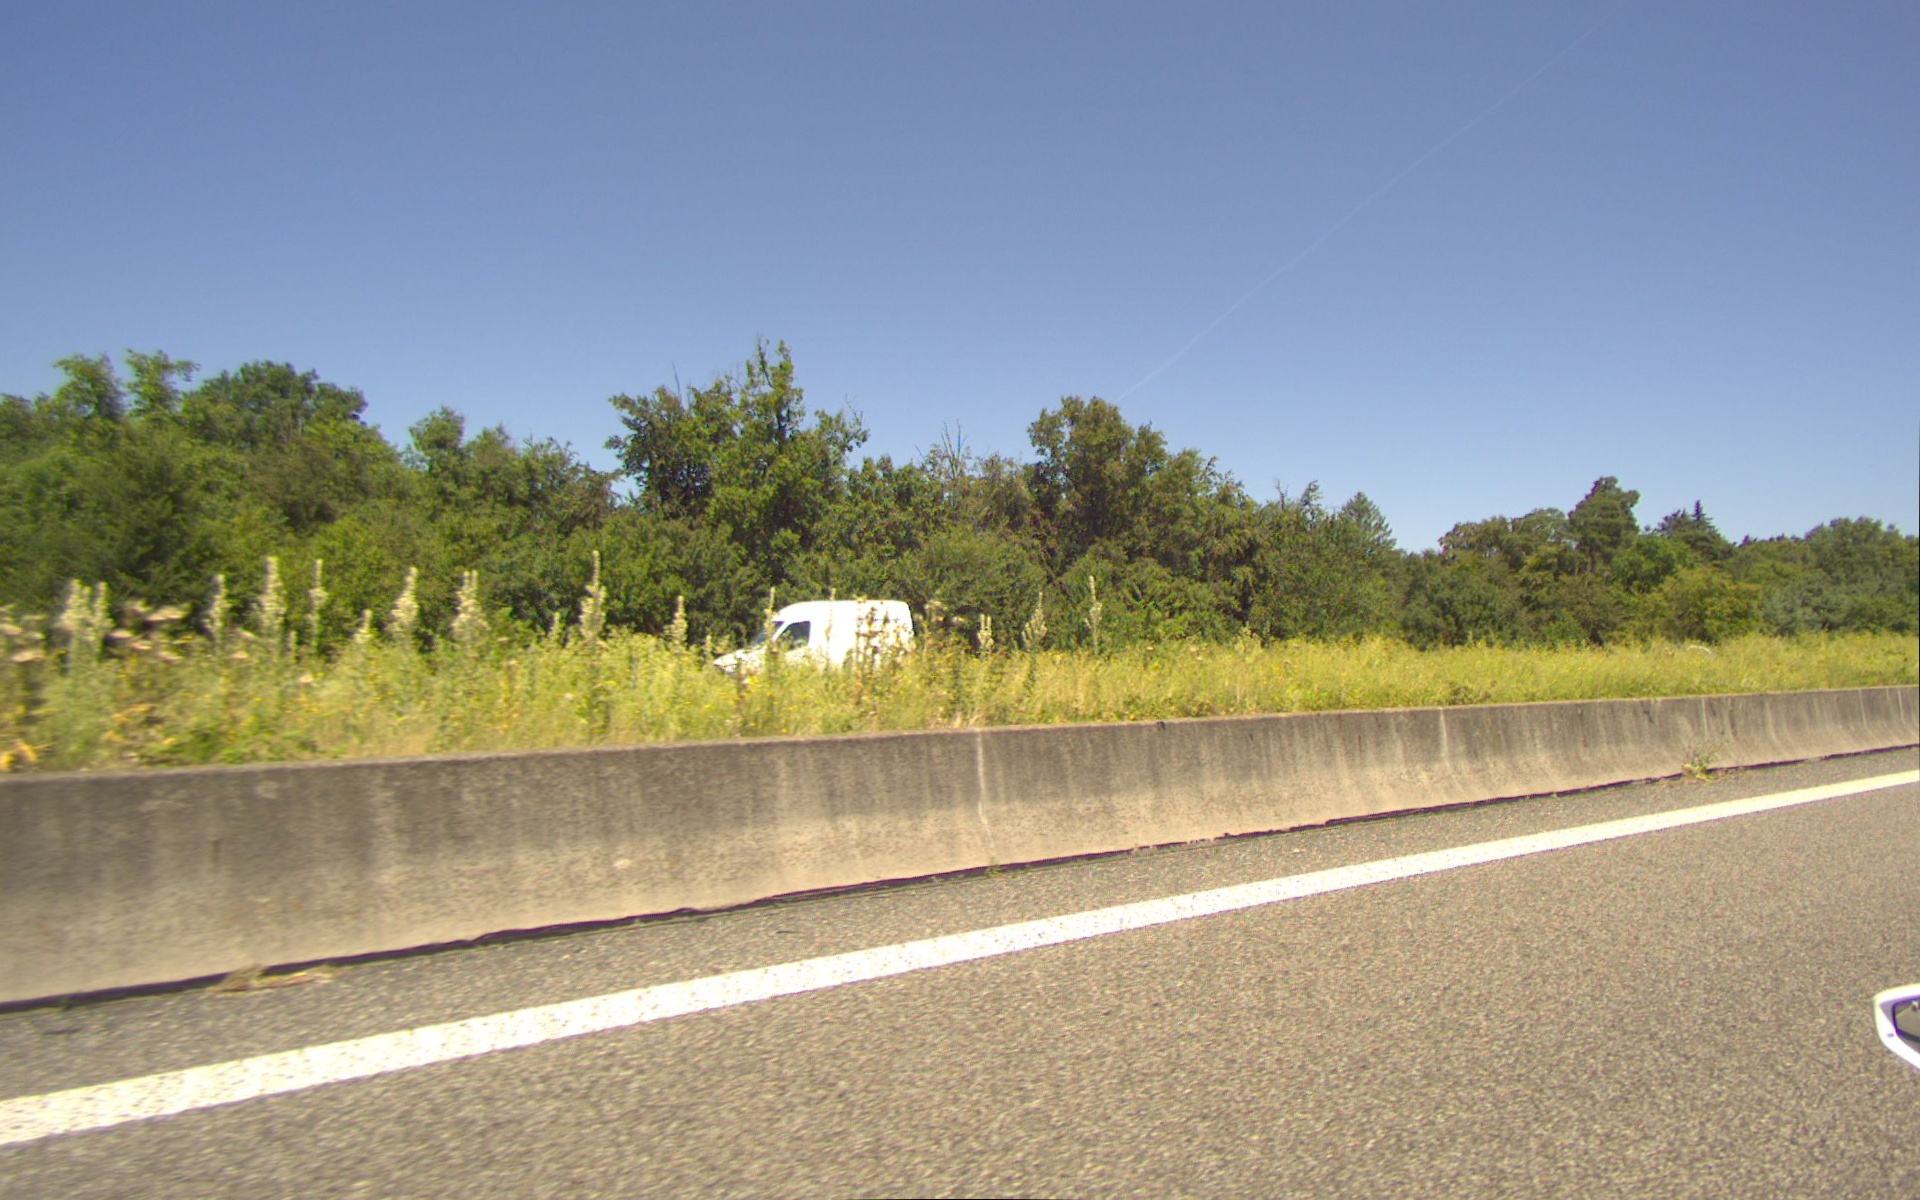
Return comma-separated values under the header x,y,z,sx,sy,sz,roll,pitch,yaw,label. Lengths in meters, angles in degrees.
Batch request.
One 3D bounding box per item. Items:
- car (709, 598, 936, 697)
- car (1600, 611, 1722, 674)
x,y,z,sx,sy,sz,roll,pitch,yaw,label
-3.508,1.190,25.964,5.474,2.347,1.986,2,-1,-28,car
24.160,1.434,34.596,3.953,2.040,1.984,2,-1,-30,car
